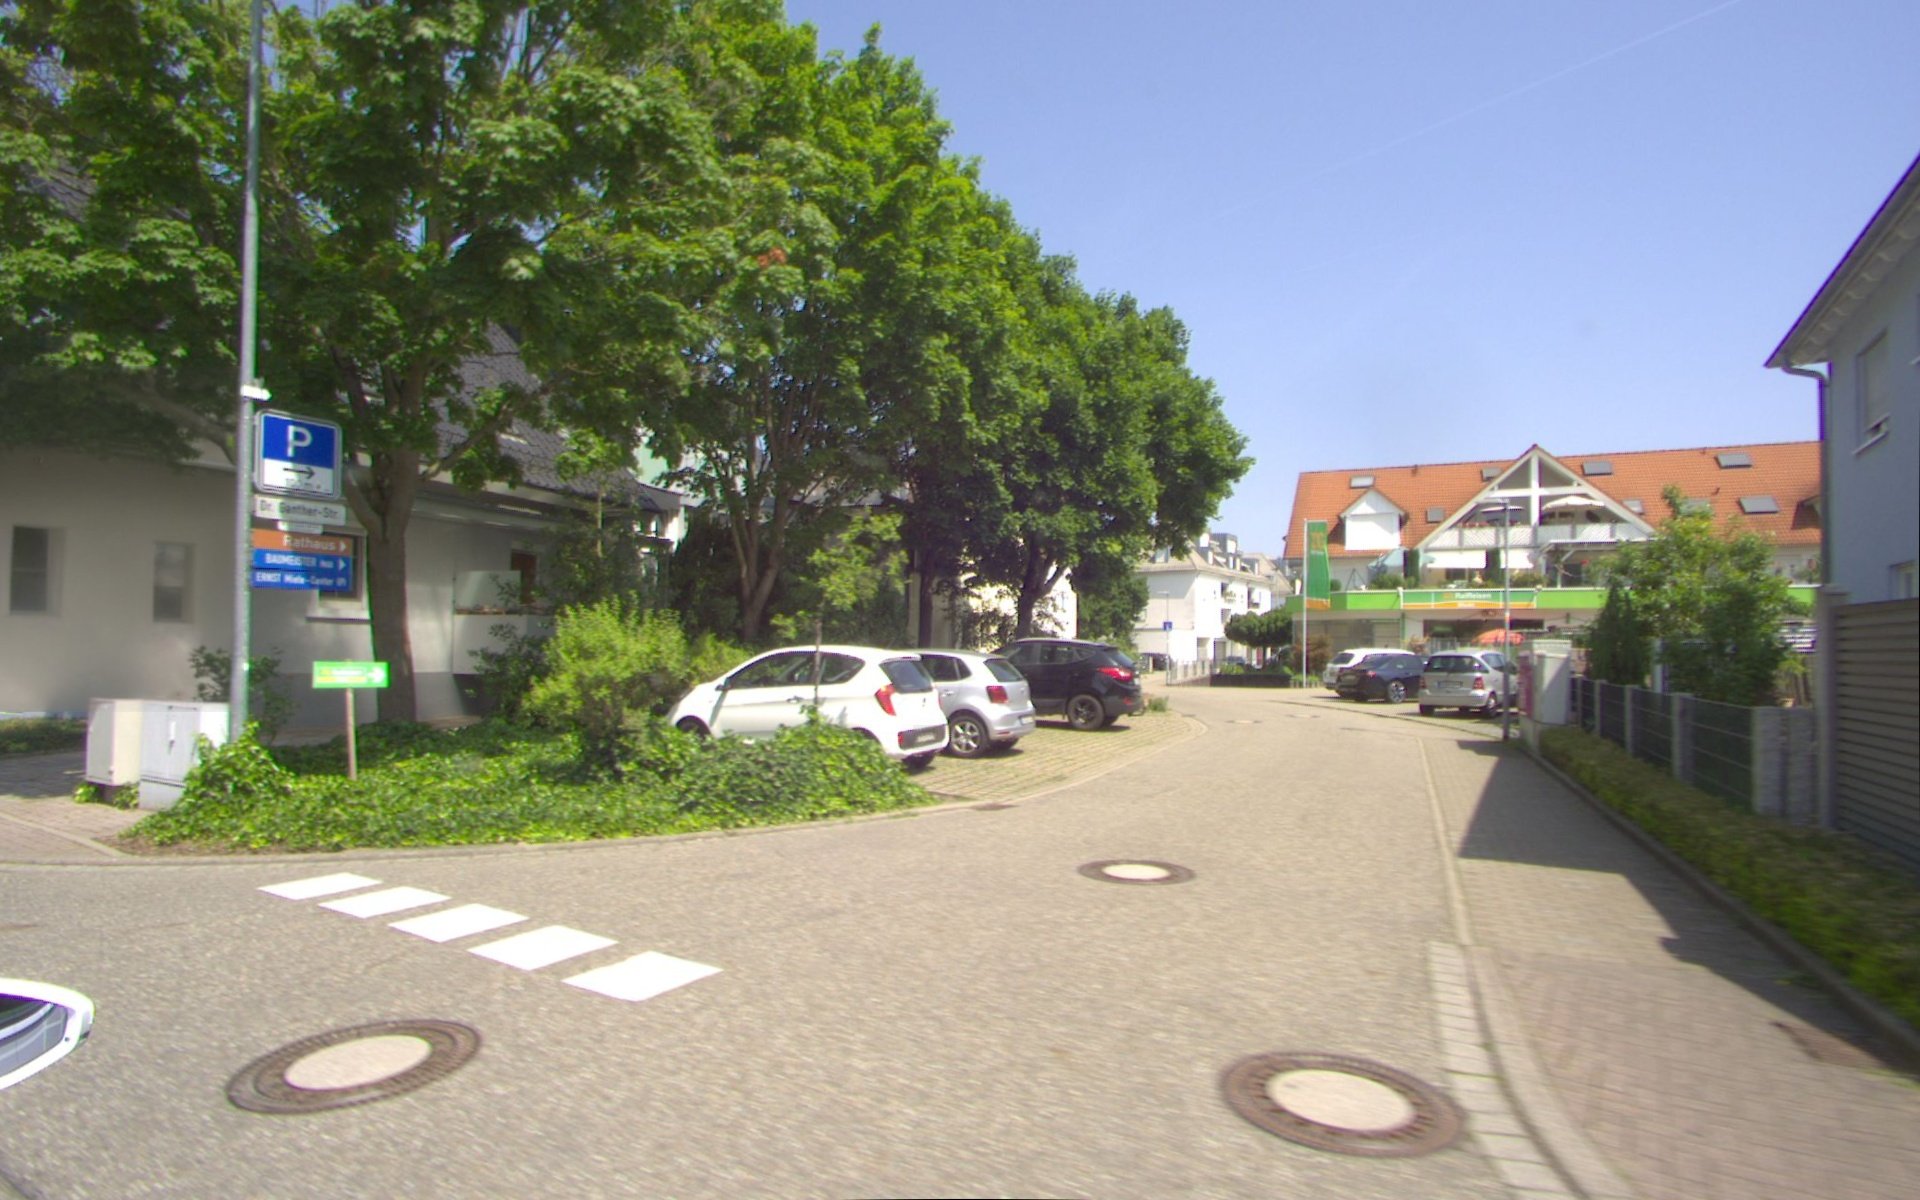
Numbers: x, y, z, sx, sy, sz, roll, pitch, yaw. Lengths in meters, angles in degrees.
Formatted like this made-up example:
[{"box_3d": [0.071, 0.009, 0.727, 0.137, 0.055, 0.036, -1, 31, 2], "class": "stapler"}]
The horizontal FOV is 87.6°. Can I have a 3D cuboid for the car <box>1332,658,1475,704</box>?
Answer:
[{"box_3d": [13.864, 2.522, 31.357, 3.929, 1.323, 1.701, 2, -2, -16], "class": "car"}]

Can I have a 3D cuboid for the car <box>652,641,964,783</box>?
[{"box_3d": [-1.881, 1.289, 12.421, 3.508, 1.463, 1.593, 1, -2, 24], "class": "car"}]

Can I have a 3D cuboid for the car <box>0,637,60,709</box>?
[{"box_3d": [-18.993, 1.375, 18.621, 1.399, 1.362, 3.045, -1, -3, 24], "class": "car"}]

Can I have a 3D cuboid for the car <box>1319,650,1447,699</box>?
[{"box_3d": [14.631, 2.574, 34.676, 3.931, 1.620, 1.701, 2, -2, -18], "class": "car"}]

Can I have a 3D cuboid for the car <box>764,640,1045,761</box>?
[{"box_3d": [-0.812, 1.399, 14.749, 3.799, 1.492, 1.593, 1, -2, 23], "class": "car"}]

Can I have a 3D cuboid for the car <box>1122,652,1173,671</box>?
[{"box_3d": [16.632, 5.427, 88.834, 4.151, 1.629, 1.811, -1, -3, 20], "class": "car"}]

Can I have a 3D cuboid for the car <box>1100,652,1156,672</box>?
[{"box_3d": [13.490, 4.957, 80.244, 4.151, 1.629, 1.811, -1, -3, 20], "class": "car"}]

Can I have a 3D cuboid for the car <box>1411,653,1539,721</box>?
[{"box_3d": [12.911, 2.099, 24.998, 4.059, 1.520, 1.687, 3, -3, -45], "class": "car"}]

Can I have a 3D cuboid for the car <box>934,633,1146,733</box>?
[{"box_3d": [1.572, 1.560, 19.467, 3.796, 1.704, 1.594, 1, -2, 21], "class": "car"}]
